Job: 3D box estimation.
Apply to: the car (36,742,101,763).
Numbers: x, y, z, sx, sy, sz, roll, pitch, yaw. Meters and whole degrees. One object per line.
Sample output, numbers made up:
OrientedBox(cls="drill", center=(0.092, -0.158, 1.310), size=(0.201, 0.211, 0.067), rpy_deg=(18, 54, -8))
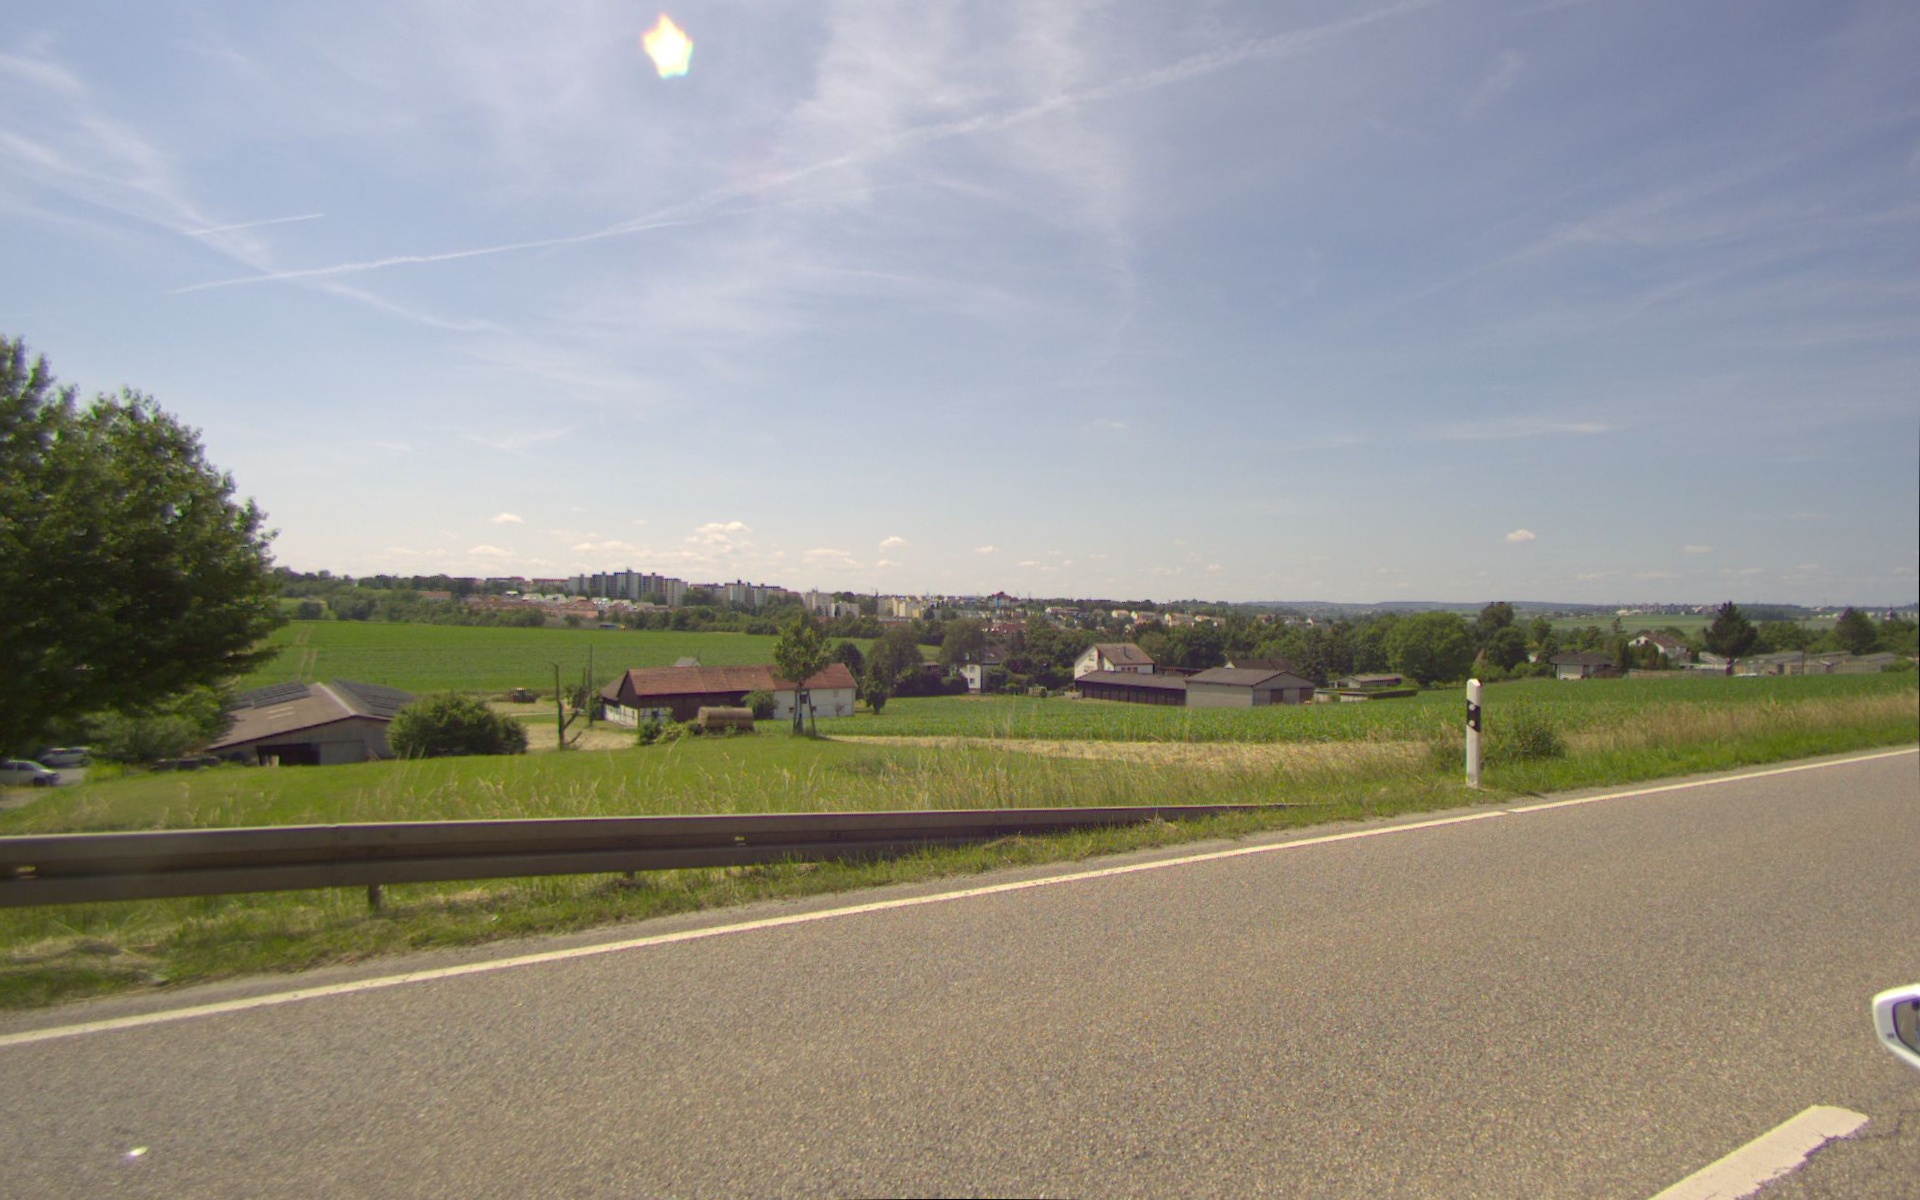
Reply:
OrientedBox(cls="car", center=(-87.404, 14.928, 98.565), size=(4.448, 1.706, 1.985), rpy_deg=(1, -6, -31))

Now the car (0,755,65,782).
OrientedBox(cls="car", center=(-69.619, 12.539, 74.518), size=(4.447, 1.706, 1.985), rpy_deg=(1, -6, -31))
